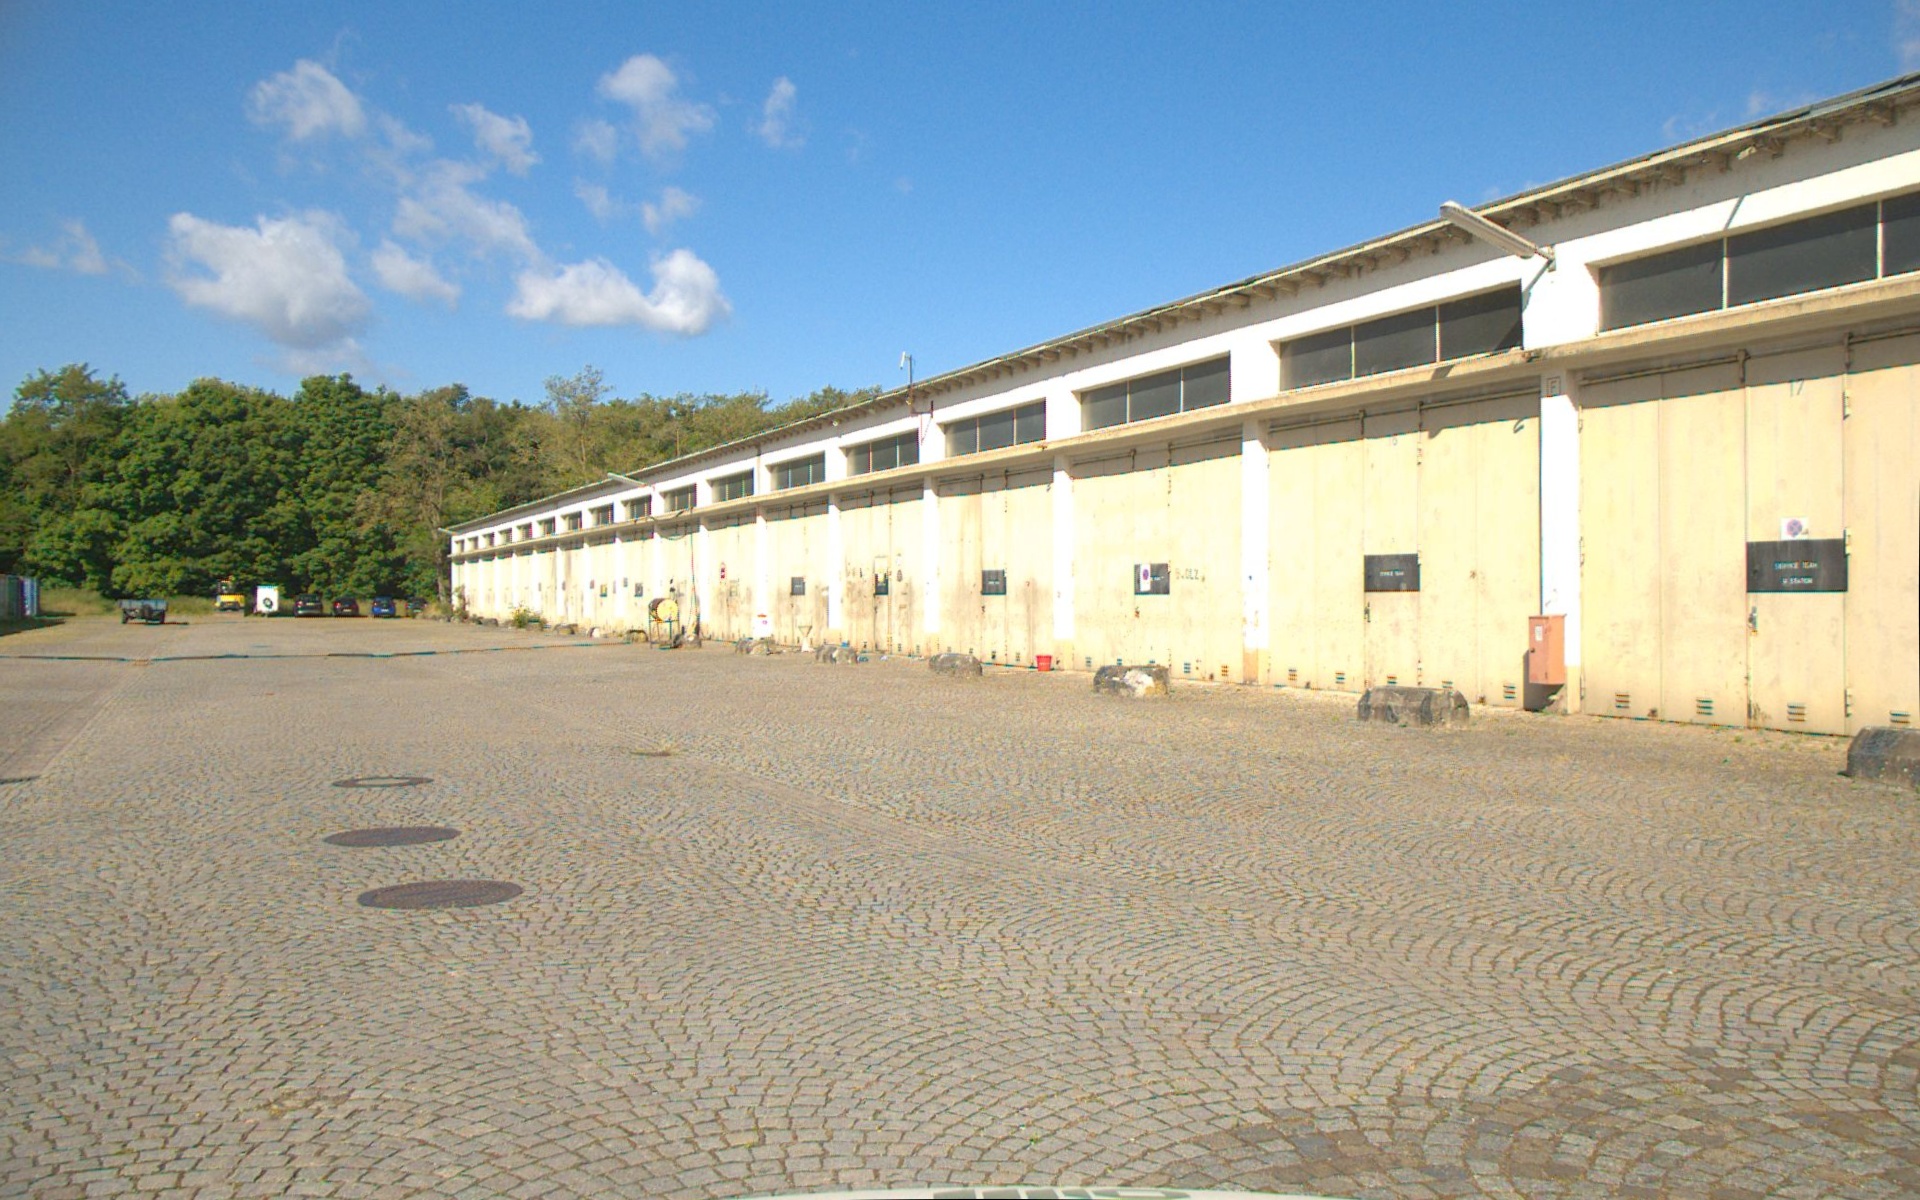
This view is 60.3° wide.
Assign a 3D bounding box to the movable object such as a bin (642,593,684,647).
[{"bbox_3d":[-7.973,0.525,44.352,0.864,1.426,1.092,0,0,-26],"label":"movable object such as a bin"}]

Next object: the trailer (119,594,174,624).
[{"bbox_3d":[-48.032,0.511,97.731,2.756,1.675,5.575,-1,0,-25],"label":"trailer"}]

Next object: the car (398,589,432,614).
[{"bbox_3d":[-40.239,0.130,122.146,1.968,1.803,3.969,-1,0,-25],"label":"car"}]

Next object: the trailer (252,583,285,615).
[{"bbox_3d":[-49.162,-0.053,117.543,1.968,2.200,4.397,-1,0,-25],"label":"trailer"}]

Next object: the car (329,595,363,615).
[{"bbox_3d":[-44.165,0.349,118.948,1.968,1.449,3.969,-1,0,-25],"label":"car"}]

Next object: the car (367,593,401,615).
[{"bbox_3d":[-41.844,0.281,120.027,1.968,1.491,3.969,-1,0,-25],"label":"car"}]

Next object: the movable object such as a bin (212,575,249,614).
[{"bbox_3d":[-51.674,-0.421,117.193,2.205,2.703,3.965,-1,0,-27],"label":"movable object such as a bin"}]

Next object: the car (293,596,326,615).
[{"bbox_3d":[-46.272,0.404,117.548,1.968,1.280,3.969,-1,0,-25],"label":"car"}]
